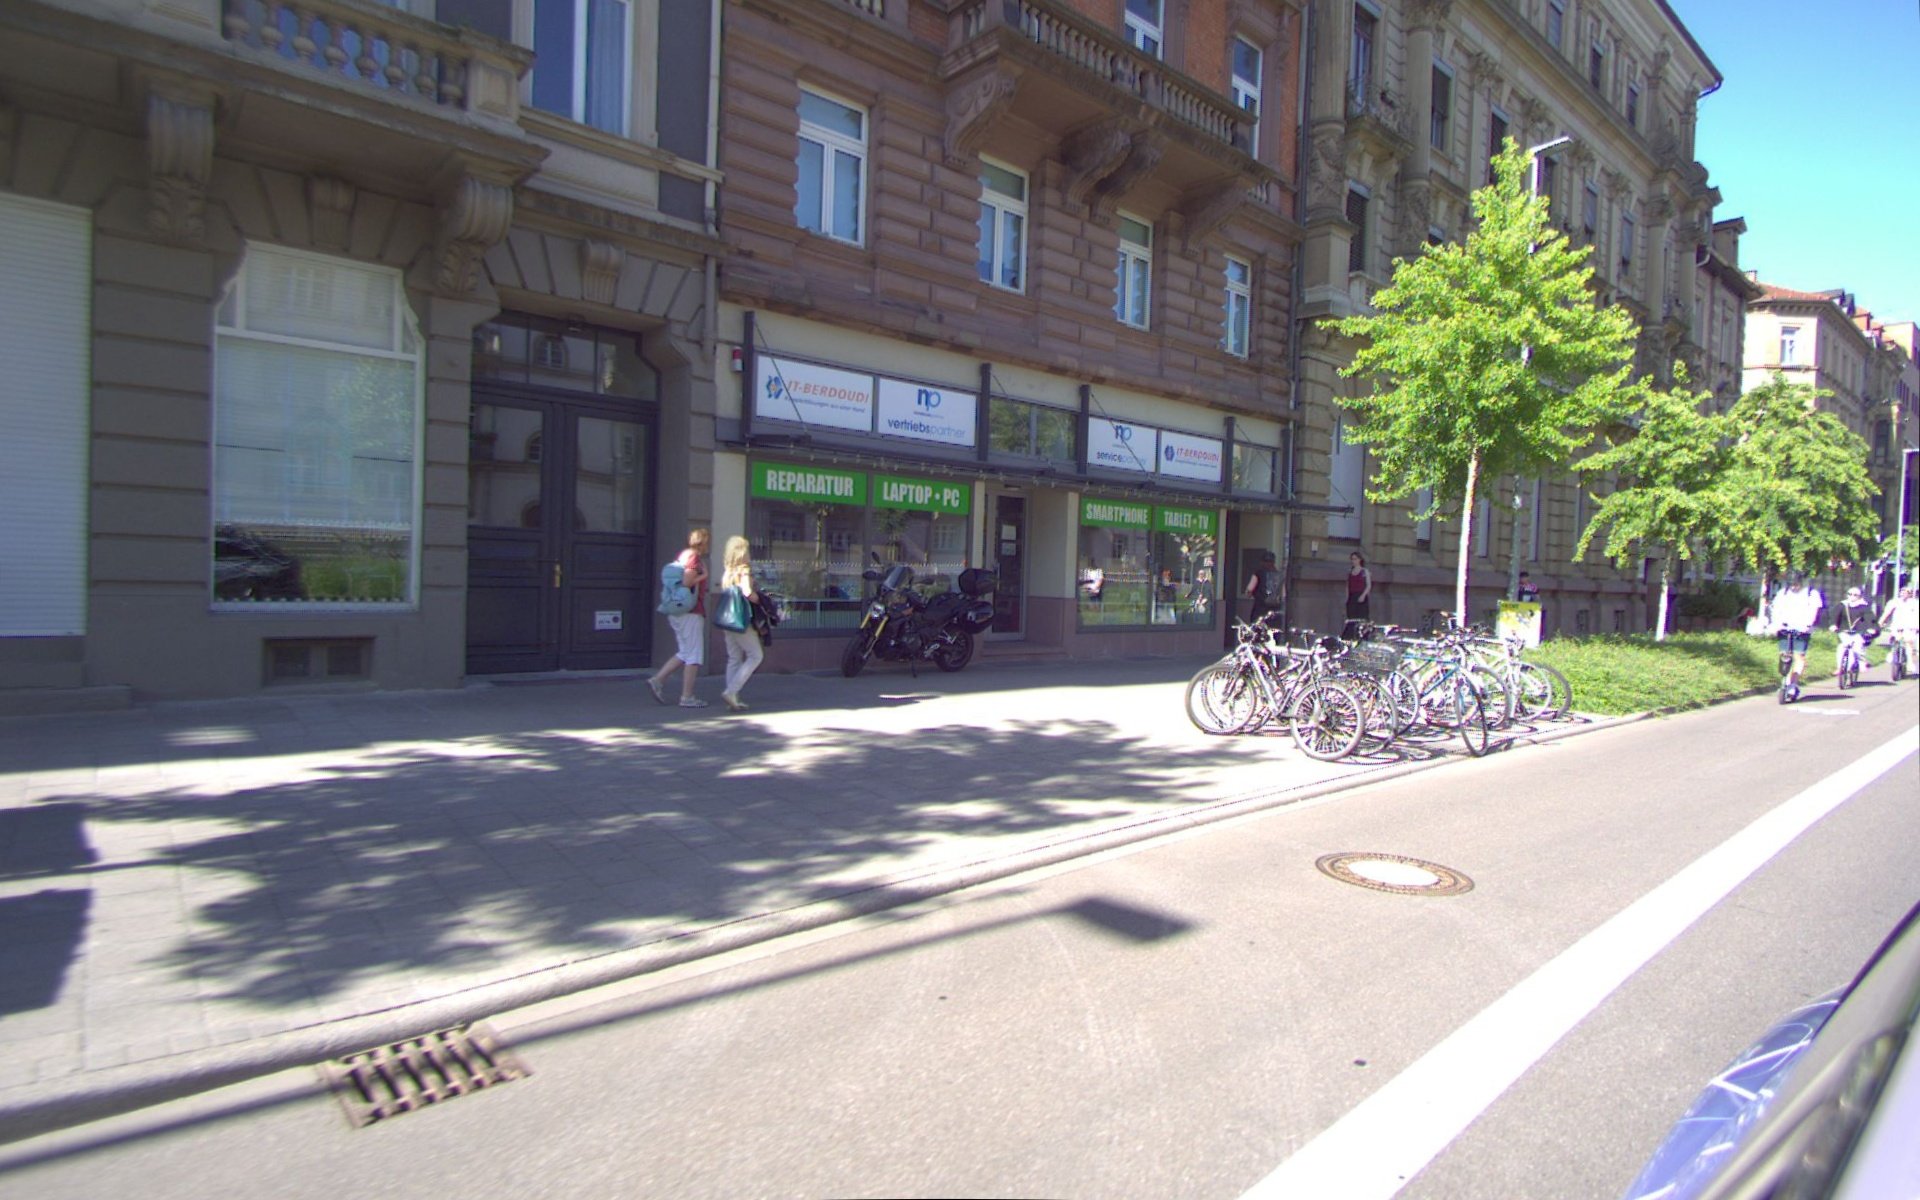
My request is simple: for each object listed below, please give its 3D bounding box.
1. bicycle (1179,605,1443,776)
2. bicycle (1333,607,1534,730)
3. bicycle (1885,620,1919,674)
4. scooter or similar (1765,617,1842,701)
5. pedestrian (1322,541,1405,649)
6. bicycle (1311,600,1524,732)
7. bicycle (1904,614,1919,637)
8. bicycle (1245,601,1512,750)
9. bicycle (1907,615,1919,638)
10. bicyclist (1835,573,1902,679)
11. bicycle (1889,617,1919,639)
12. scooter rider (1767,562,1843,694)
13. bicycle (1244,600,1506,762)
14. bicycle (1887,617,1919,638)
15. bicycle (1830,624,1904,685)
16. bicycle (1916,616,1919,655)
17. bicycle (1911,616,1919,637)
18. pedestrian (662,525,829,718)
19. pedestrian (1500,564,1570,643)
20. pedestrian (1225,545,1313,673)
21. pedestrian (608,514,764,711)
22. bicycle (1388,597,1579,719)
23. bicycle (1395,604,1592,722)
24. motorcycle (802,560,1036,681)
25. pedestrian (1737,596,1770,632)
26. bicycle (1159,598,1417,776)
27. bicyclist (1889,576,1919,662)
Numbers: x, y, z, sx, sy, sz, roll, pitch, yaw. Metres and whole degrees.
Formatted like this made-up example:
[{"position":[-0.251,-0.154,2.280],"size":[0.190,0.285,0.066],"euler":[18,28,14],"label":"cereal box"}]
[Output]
[{"position":[2.989,0.710,8.814],"size":[2.045,1.120,0.601],"euler":[8,5,44],"label":"bicycle"},{"position":[5.040,0.684,10.860],"size":[1.816,1.068,0.562],"euler":[6,4,44],"label":"bicycle"},{"position":[19.202,0.935,20.310],"size":[1.918,1.019,0.724],"euler":[1,1,-41],"label":"bicycle"},{"position":[12.568,0.856,15.073],"size":[1.129,1.172,0.647],"euler":[1,1,-39],"label":"scooter or similar"},{"position":[7.626,-0.095,19.148],"size":[1.077,1.943,0.893],"euler":[1,4,-35],"label":"pedestrian"},{"position":[4.759,0.643,10.670],"size":[0.428,1.121,1.981],"euler":[0,4,-43],"label":"bicycle"},{"position":[48.748,1.359,50.890],"size":[1.115,1.074,1.677],"euler":[0,6,-42],"label":"bicycle"},{"position":[3.992,0.670,9.802],"size":[2.279,1.115,0.480],"euler":[6,4,36],"label":"bicycle"},{"position":[47.052,1.364,48.855],"size":[0.598,1.061,1.873],"euler":[0,5,-45],"label":"bicycle"},{"position":[16.418,0.458,18.283],"size":[1.072,1.840,0.725],"euler":[1,0,-41],"label":"bicyclist"},{"position":[45.180,1.379,47.697],"size":[0.580,0.922,1.911],"euler":[1,5,-32],"label":"bicycle"},{"position":[12.552,0.393,15.037],"size":[0.881,1.890,0.663],"euler":[1,1,-38],"label":"scooter rider"},{"position":[3.825,0.696,9.475],"size":[2.142,1.168,0.424],"euler":[8,5,37],"label":"bicycle"},{"position":[45.481,1.330,48.301],"size":[0.488,0.936,1.717],"euler":[1,3,-40],"label":"bicycle"},{"position":[16.404,0.958,18.286],"size":[1.917,1.019,0.725],"euler":[1,1,-40],"label":"bicycle"},{"position":[25.955,0.939,26.717],"size":[1.918,1.019,0.829],"euler":[1,1,-41],"label":"bicycle"},{"position":[49.980,1.465,51.567],"size":[0.833,1.054,2.062],"euler":[0,6,-41],"label":"bicycle"},{"position":[-1.923,0.167,9.065],"size":[1.061,1.586,0.952],"euler":[2,2,-41],"label":"pedestrian"},{"position":[13.278,0.069,23.385],"size":[1.094,1.712,0.972],"euler":[1,4,-39],"label":"pedestrian"},{"position":[4.578,0.105,14.982],"size":[0.845,1.756,0.891],"euler":[7,5,36],"label":"pedestrian"},{"position":[-2.506,0.091,9.228],"size":[0.975,1.659,0.973],"euler":[2,2,-41],"label":"pedestrian"},{"position":[5.911,0.612,11.532],"size":[0.367,1.193,1.869],"euler":[0,3,-43],"label":"bicycle"},{"position":[6.158,0.682,11.777],"size":[0.509,1.122,1.894],"euler":[0,4,-45],"label":"bicycle"},{"position":[-0.434,0.212,12.400],"size":[2.930,1.281,0.868],"euler":[0,4,-41],"label":"motorcycle"},{"position":[27.906,0.494,35.571],"size":[0.866,1.197,0.719],"euler":[0,3,-41],"label":"pedestrian"},{"position":[2.695,0.667,8.544],"size":[1.977,1.137,0.474],"euler":[9,5,45],"label":"bicycle"},{"position":[19.168,0.374,20.252],"size":[0.960,1.677,0.700],"euler":[1,1,-41],"label":"bicyclist"}]
